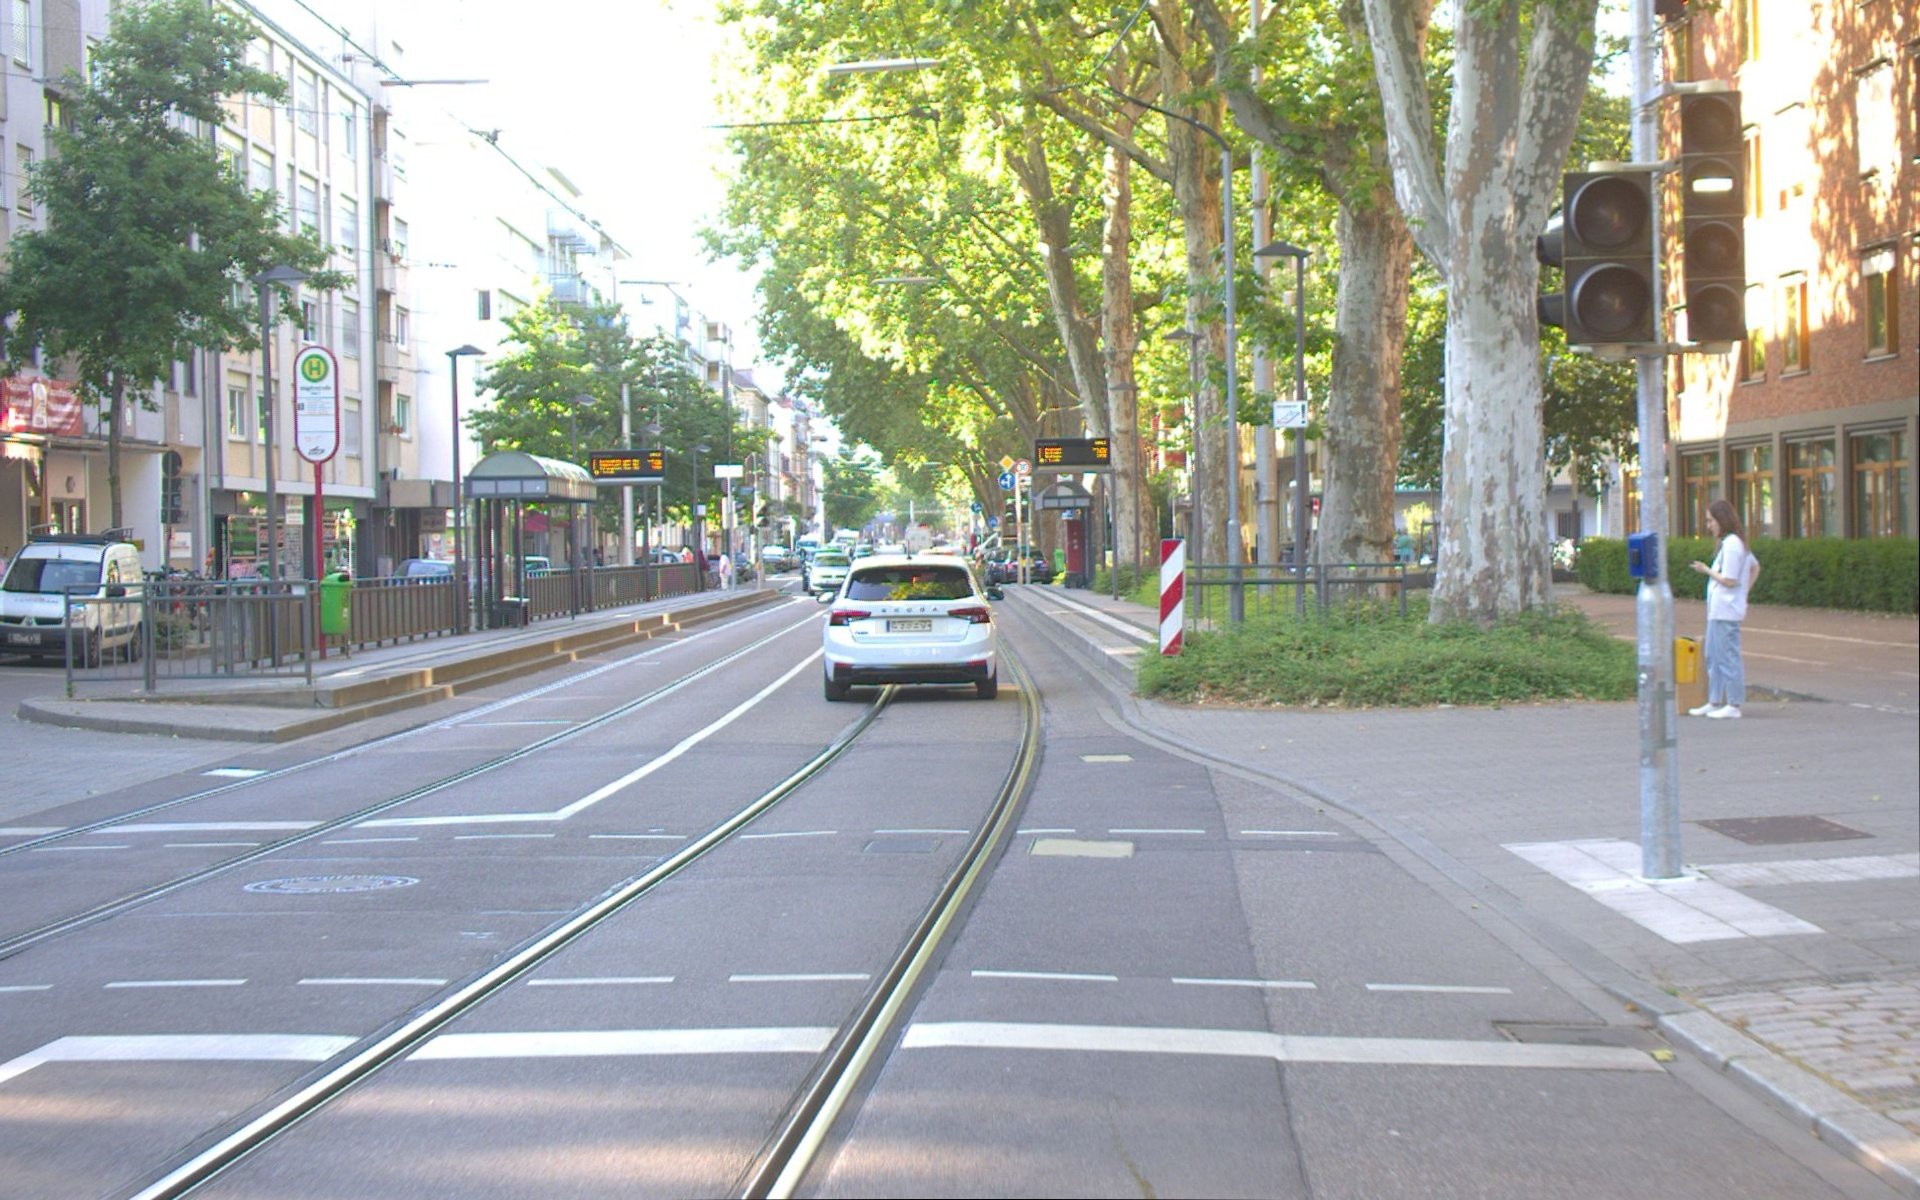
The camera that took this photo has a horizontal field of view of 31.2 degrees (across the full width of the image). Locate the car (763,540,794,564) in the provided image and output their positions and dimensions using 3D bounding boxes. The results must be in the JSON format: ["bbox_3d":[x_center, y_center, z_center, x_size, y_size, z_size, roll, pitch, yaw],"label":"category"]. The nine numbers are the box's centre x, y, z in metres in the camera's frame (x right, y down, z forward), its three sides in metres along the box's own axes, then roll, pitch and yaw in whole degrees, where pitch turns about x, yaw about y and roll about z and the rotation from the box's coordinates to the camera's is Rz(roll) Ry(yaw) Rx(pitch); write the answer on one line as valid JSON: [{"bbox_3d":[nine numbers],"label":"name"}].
[{"bbox_3d":[-11.897,-3.139,225.115,1.788,1.508,4.000,-1,1,0],"label":"car"}]

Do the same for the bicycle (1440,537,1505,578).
[{"bbox_3d":[13.202,-1.092,88.636,1.567,1.034,0.504,-1,1,21],"label":"bicycle"}]

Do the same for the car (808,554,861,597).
[{"bbox_3d":[-4.329,-0.855,119.306,1.694,1.414,4.000,-1,1,0],"label":"car"}]

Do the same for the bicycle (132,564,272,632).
[{"bbox_3d":[-13.159,-0.038,59.703,2.253,1.070,0.636,2,1,1],"label":"bicycle"}]

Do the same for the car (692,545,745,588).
[{"bbox_3d":[-9.034,-1.253,128.837,1.678,1.543,4.000,1,1,0],"label":"car"}]

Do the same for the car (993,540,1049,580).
[{"bbox_3d":[2.311,-1.516,130.747,1.993,1.448,4.000,-1,1,0],"label":"car"}]

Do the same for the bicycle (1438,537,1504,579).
[{"bbox_3d":[13.039,-1.075,87.722,1.567,1.034,0.479,-1,1,21],"label":"bicycle"}]

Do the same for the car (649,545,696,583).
[{"bbox_3d":[-12.393,-1.567,148.430,1.678,1.543,4.000,1,1,0],"label":"car"}]

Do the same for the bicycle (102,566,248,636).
[{"bbox_3d":[-13.072,0.021,57.270,2.253,1.070,0.636,2,1,1],"label":"bicycle"}]

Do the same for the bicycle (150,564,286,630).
[{"bbox_3d":[-13.155,-0.058,60.966,2.253,1.070,0.636,2,1,1],"label":"bicycle"}]

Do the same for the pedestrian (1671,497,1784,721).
[{"bbox_3d":[5.831,0.060,26.135,0.652,1.663,0.738,-1,1,-1],"label":"pedestrian"}]

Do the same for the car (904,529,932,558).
[{"bbox_3d":[-2.872,-3.870,234.188,1.866,1.886,4.000,-1,1,0],"label":"car"}]

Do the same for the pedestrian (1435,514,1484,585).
[{"bbox_3d":[11.523,-1.163,79.372,0.972,1.618,0.887,-1,1,0],"label":"pedestrian"}]

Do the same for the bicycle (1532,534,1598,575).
[{"bbox_3d":[15.449,-1.161,87.792,1.567,1.034,0.479,-1,1,21],"label":"bicycle"}]

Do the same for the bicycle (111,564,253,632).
[{"bbox_3d":[-13.342,-0.041,58.959,2.253,1.070,0.636,2,1,1],"label":"bicycle"}]

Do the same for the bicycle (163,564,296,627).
[{"bbox_3d":[-13.315,-0.084,62.714,2.253,1.070,0.636,2,1,1],"label":"bicycle"}]

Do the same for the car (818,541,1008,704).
[{"bbox_3d":[-0.461,0.185,34.928,1.788,1.508,4.000,-1,1,0],"label":"car"}]

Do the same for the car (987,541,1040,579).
[{"bbox_3d":[2.103,-1.595,135.834,1.993,1.448,4.000,-1,1,0],"label":"car"}]

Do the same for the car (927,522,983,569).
[{"bbox_3d":[-0.179,-1.822,114.498,1.788,1.508,4.000,-1,1,0],"label":"car"}]

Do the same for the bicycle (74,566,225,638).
[{"bbox_3d":[-13.110,0.035,55.622,2.253,1.070,0.636,2,1,1],"label":"bicycle"}]

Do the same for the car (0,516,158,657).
[{"bbox_3d":[-12.915,-0.221,49.689,1.688,1.933,4.000,-1,1,0],"label":"car"}]

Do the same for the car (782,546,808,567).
[{"bbox_3d":[-12.458,-3.302,260.102,1.788,1.508,4.000,-1,1,0],"label":"car"}]

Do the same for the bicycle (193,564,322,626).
[{"bbox_3d":[-13.177,-0.102,64.544,2.253,1.070,0.636,2,1,1],"label":"bicycle"}]
